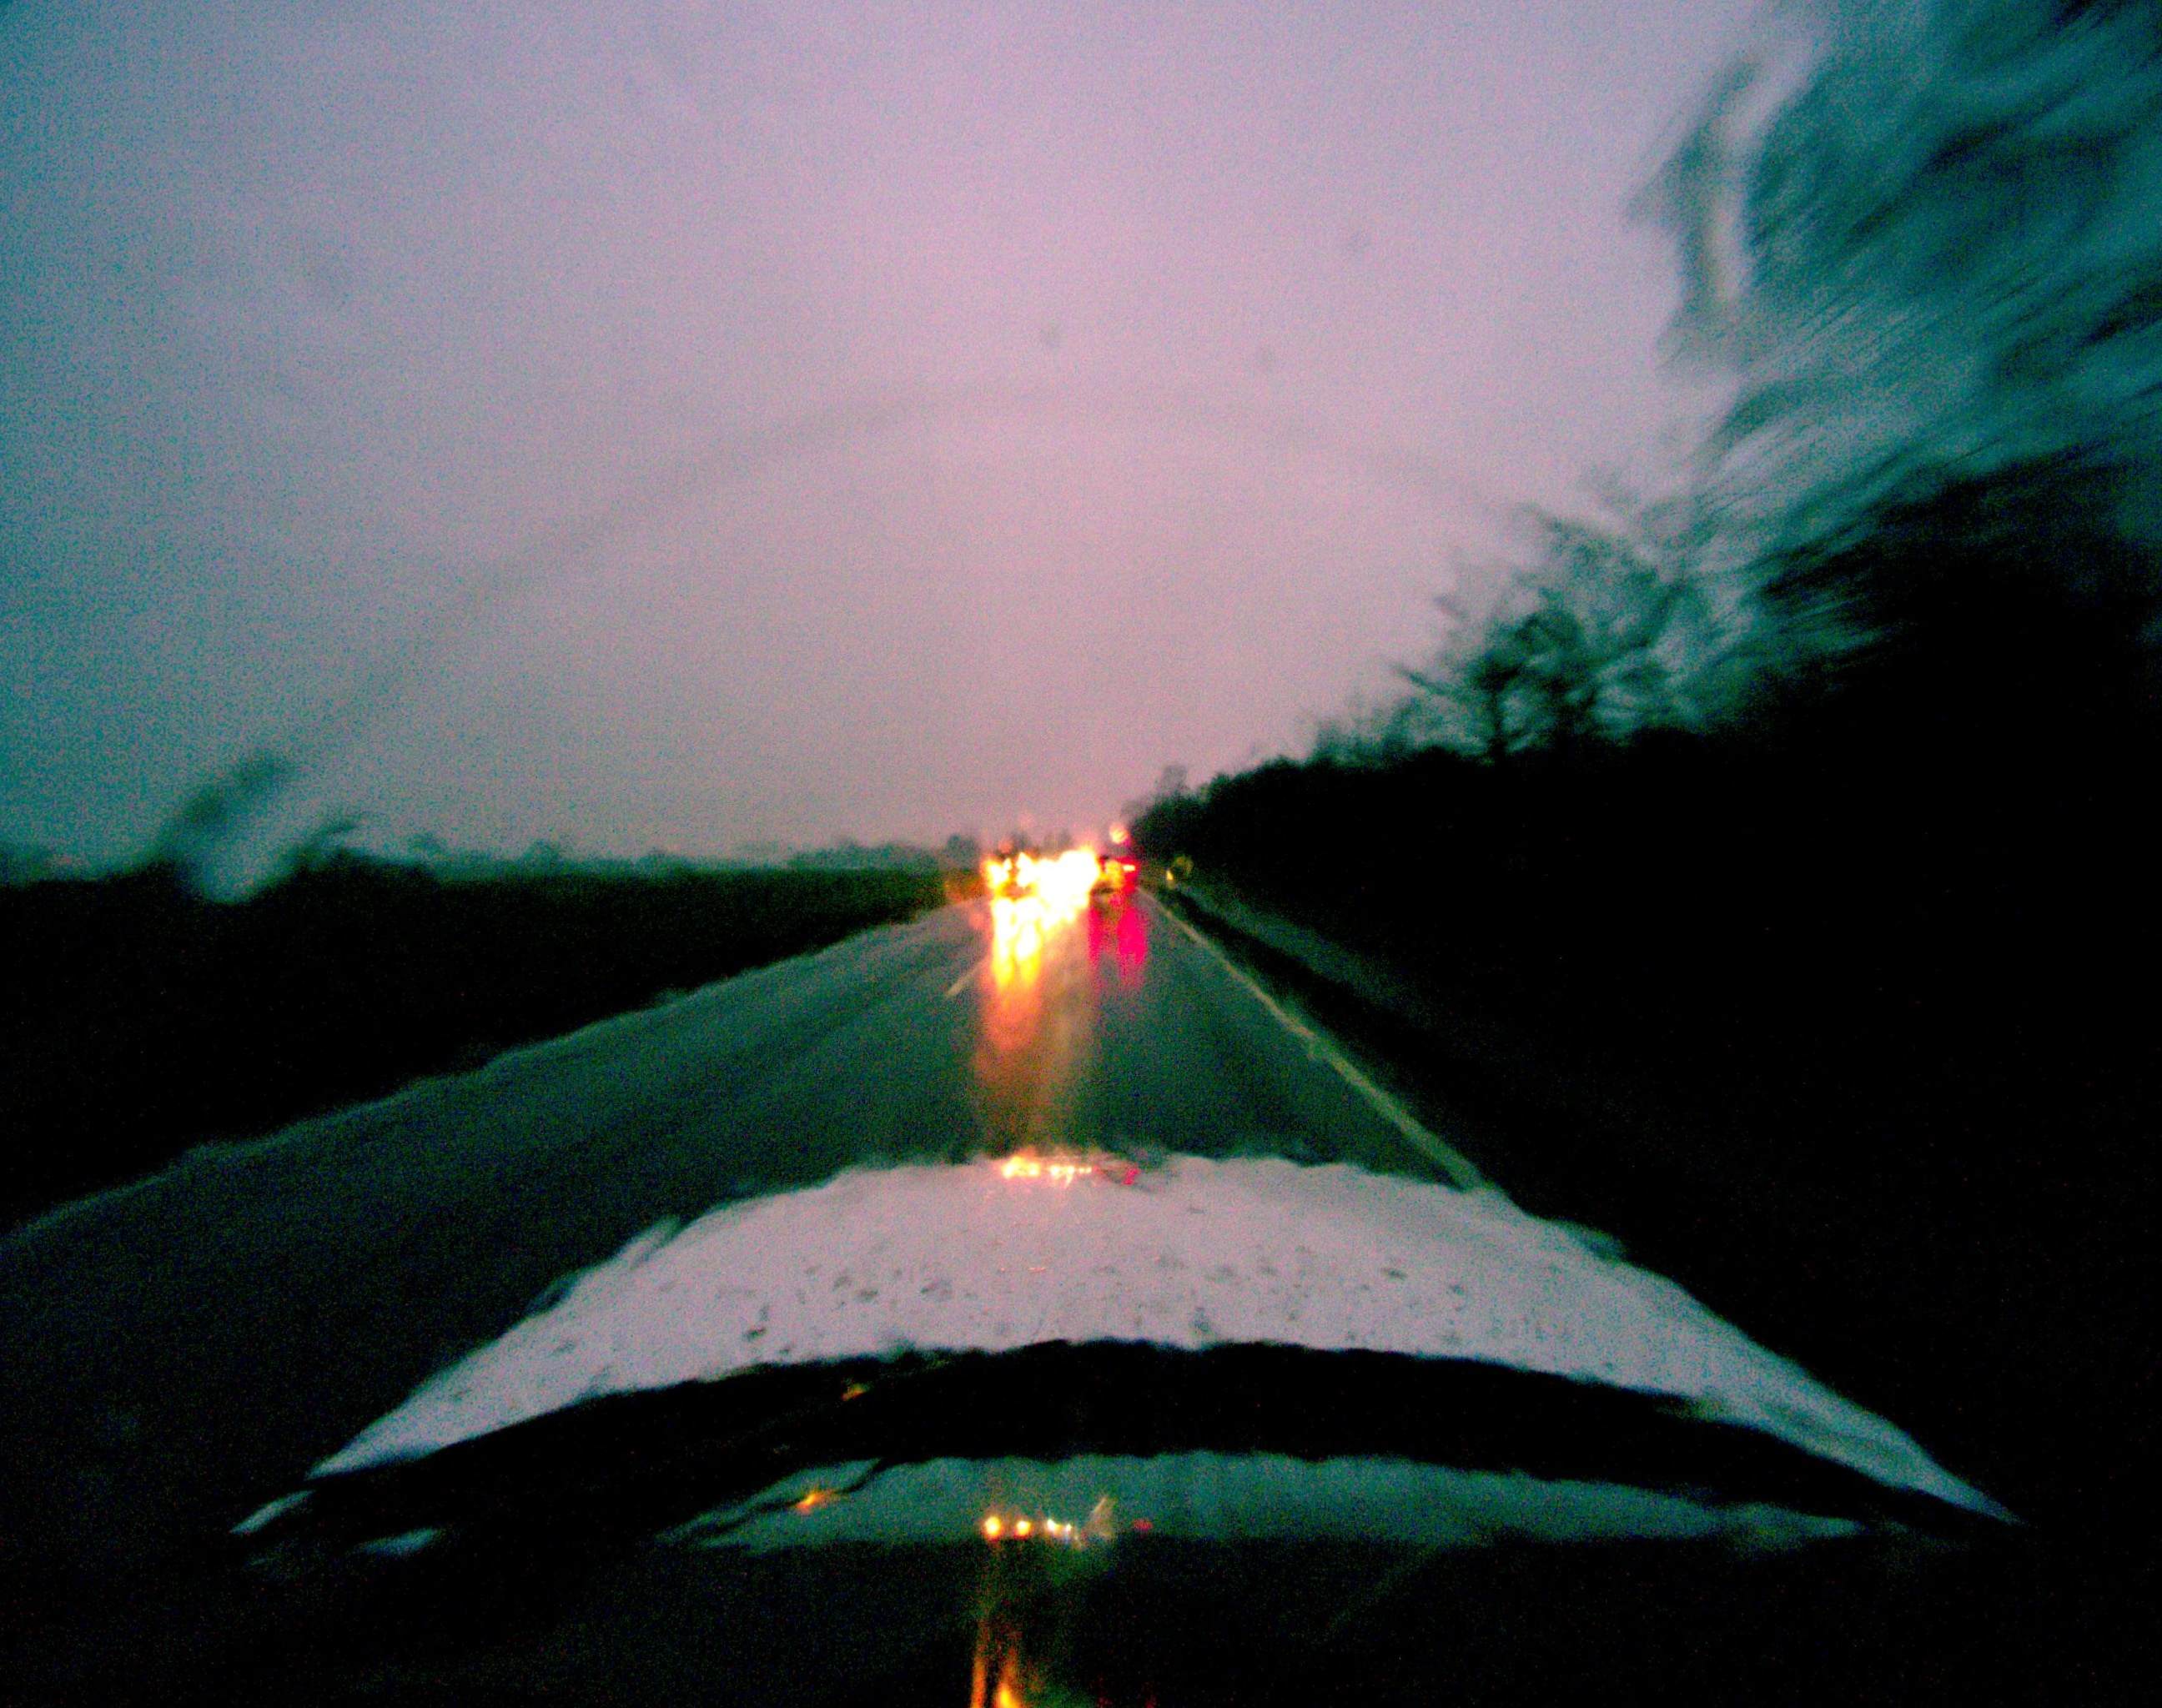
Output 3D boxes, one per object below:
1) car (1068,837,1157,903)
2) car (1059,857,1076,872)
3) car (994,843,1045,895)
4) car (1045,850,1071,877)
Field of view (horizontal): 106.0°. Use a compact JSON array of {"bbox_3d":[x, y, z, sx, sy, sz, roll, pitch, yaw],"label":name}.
[{"bbox_3d":[1.135,0.511,28.739,2.809,2.077,5.808,0,0,3],"label":"car"},{"bbox_3d":[-1.640,1.245,98.042,1.909,1.712,4.313,-2,0,0],"label":"car"},{"bbox_3d":[-2.703,0.651,36.646,1.909,2.137,4.313,-2,0,0],"label":"car"},{"bbox_3d":[-1.846,0.753,66.866,1.909,2.137,4.313,-2,0,0],"label":"car"}]
